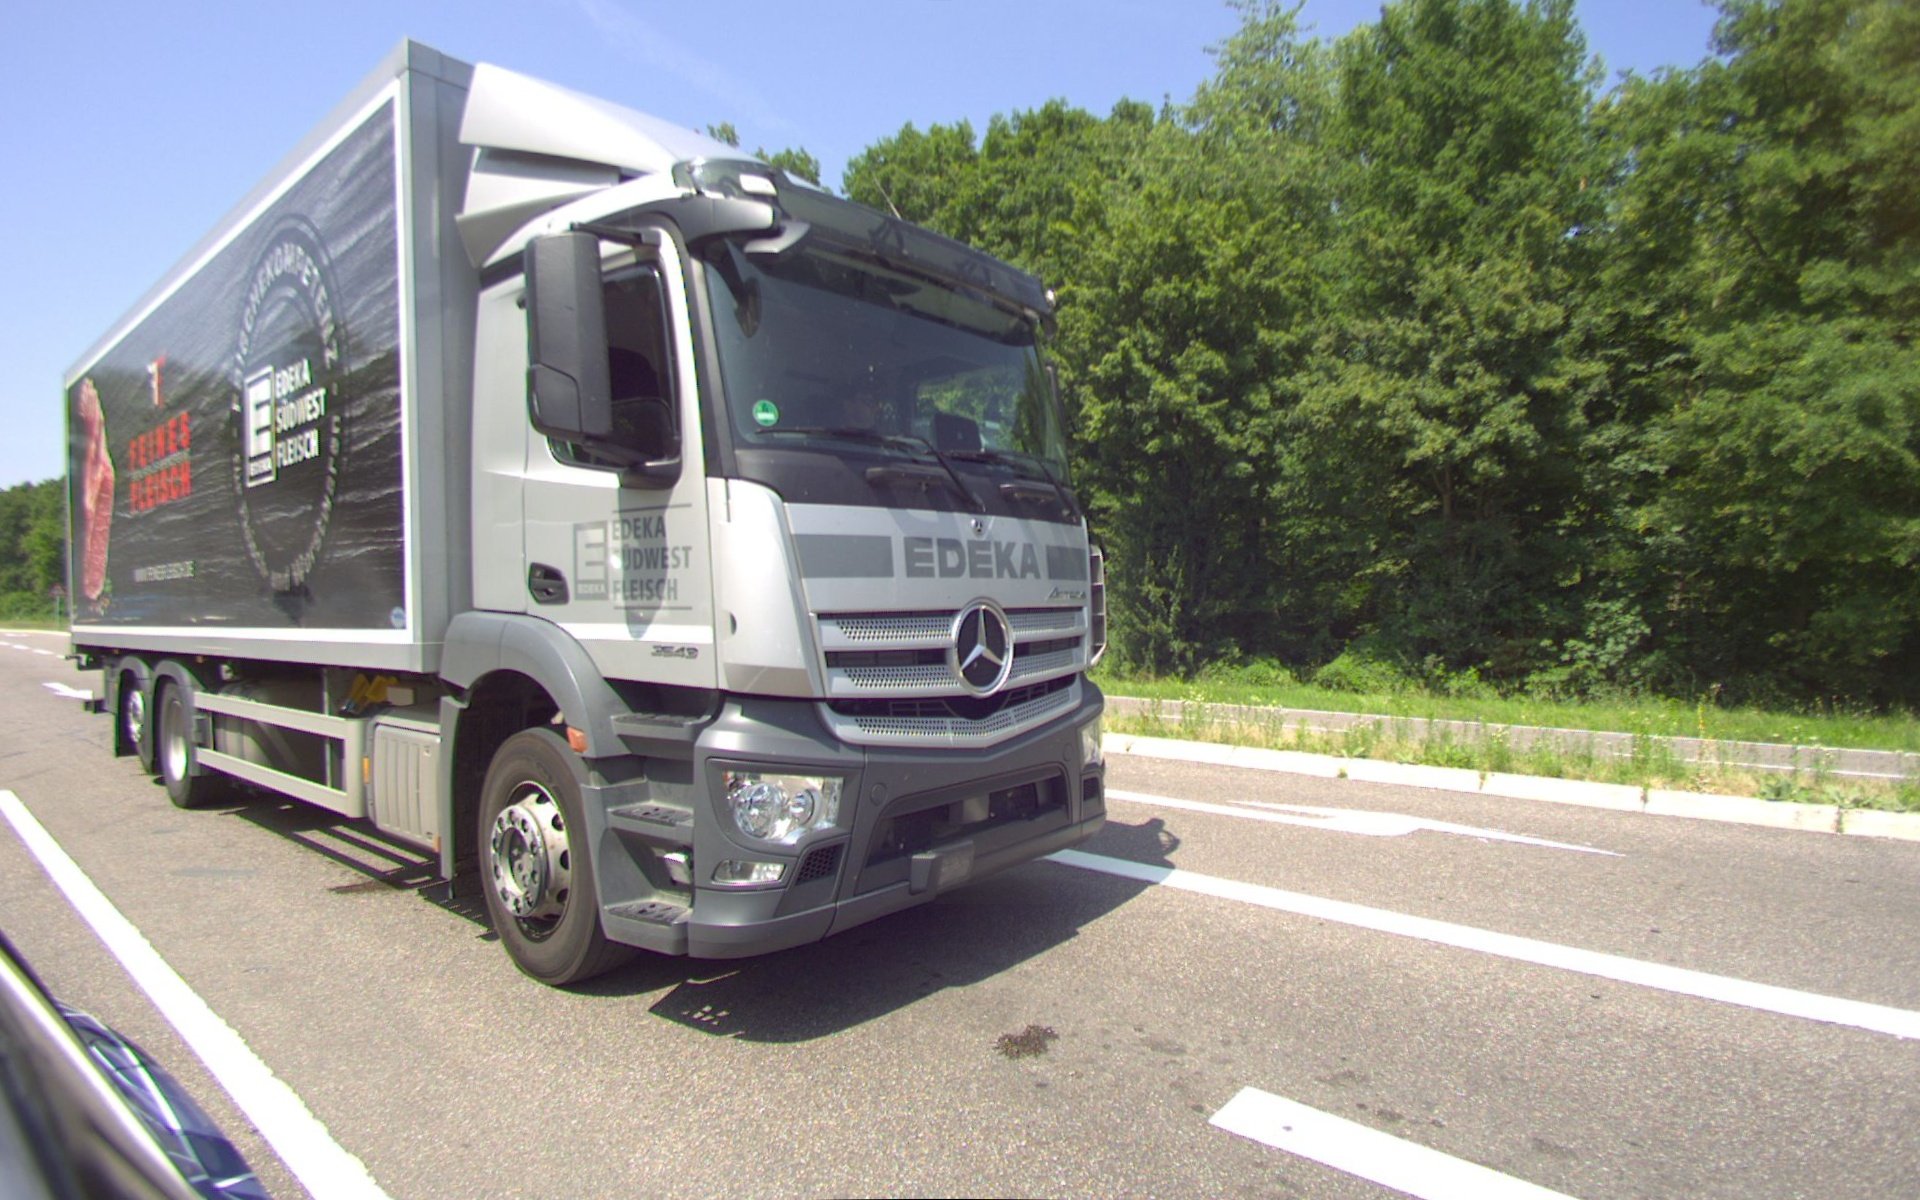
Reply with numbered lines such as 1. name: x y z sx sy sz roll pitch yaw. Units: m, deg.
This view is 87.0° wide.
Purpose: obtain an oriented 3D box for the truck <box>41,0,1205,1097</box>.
1. truck: -4.008 -0.545 7.511 11.312 3.914 2.718 -1 0 40
